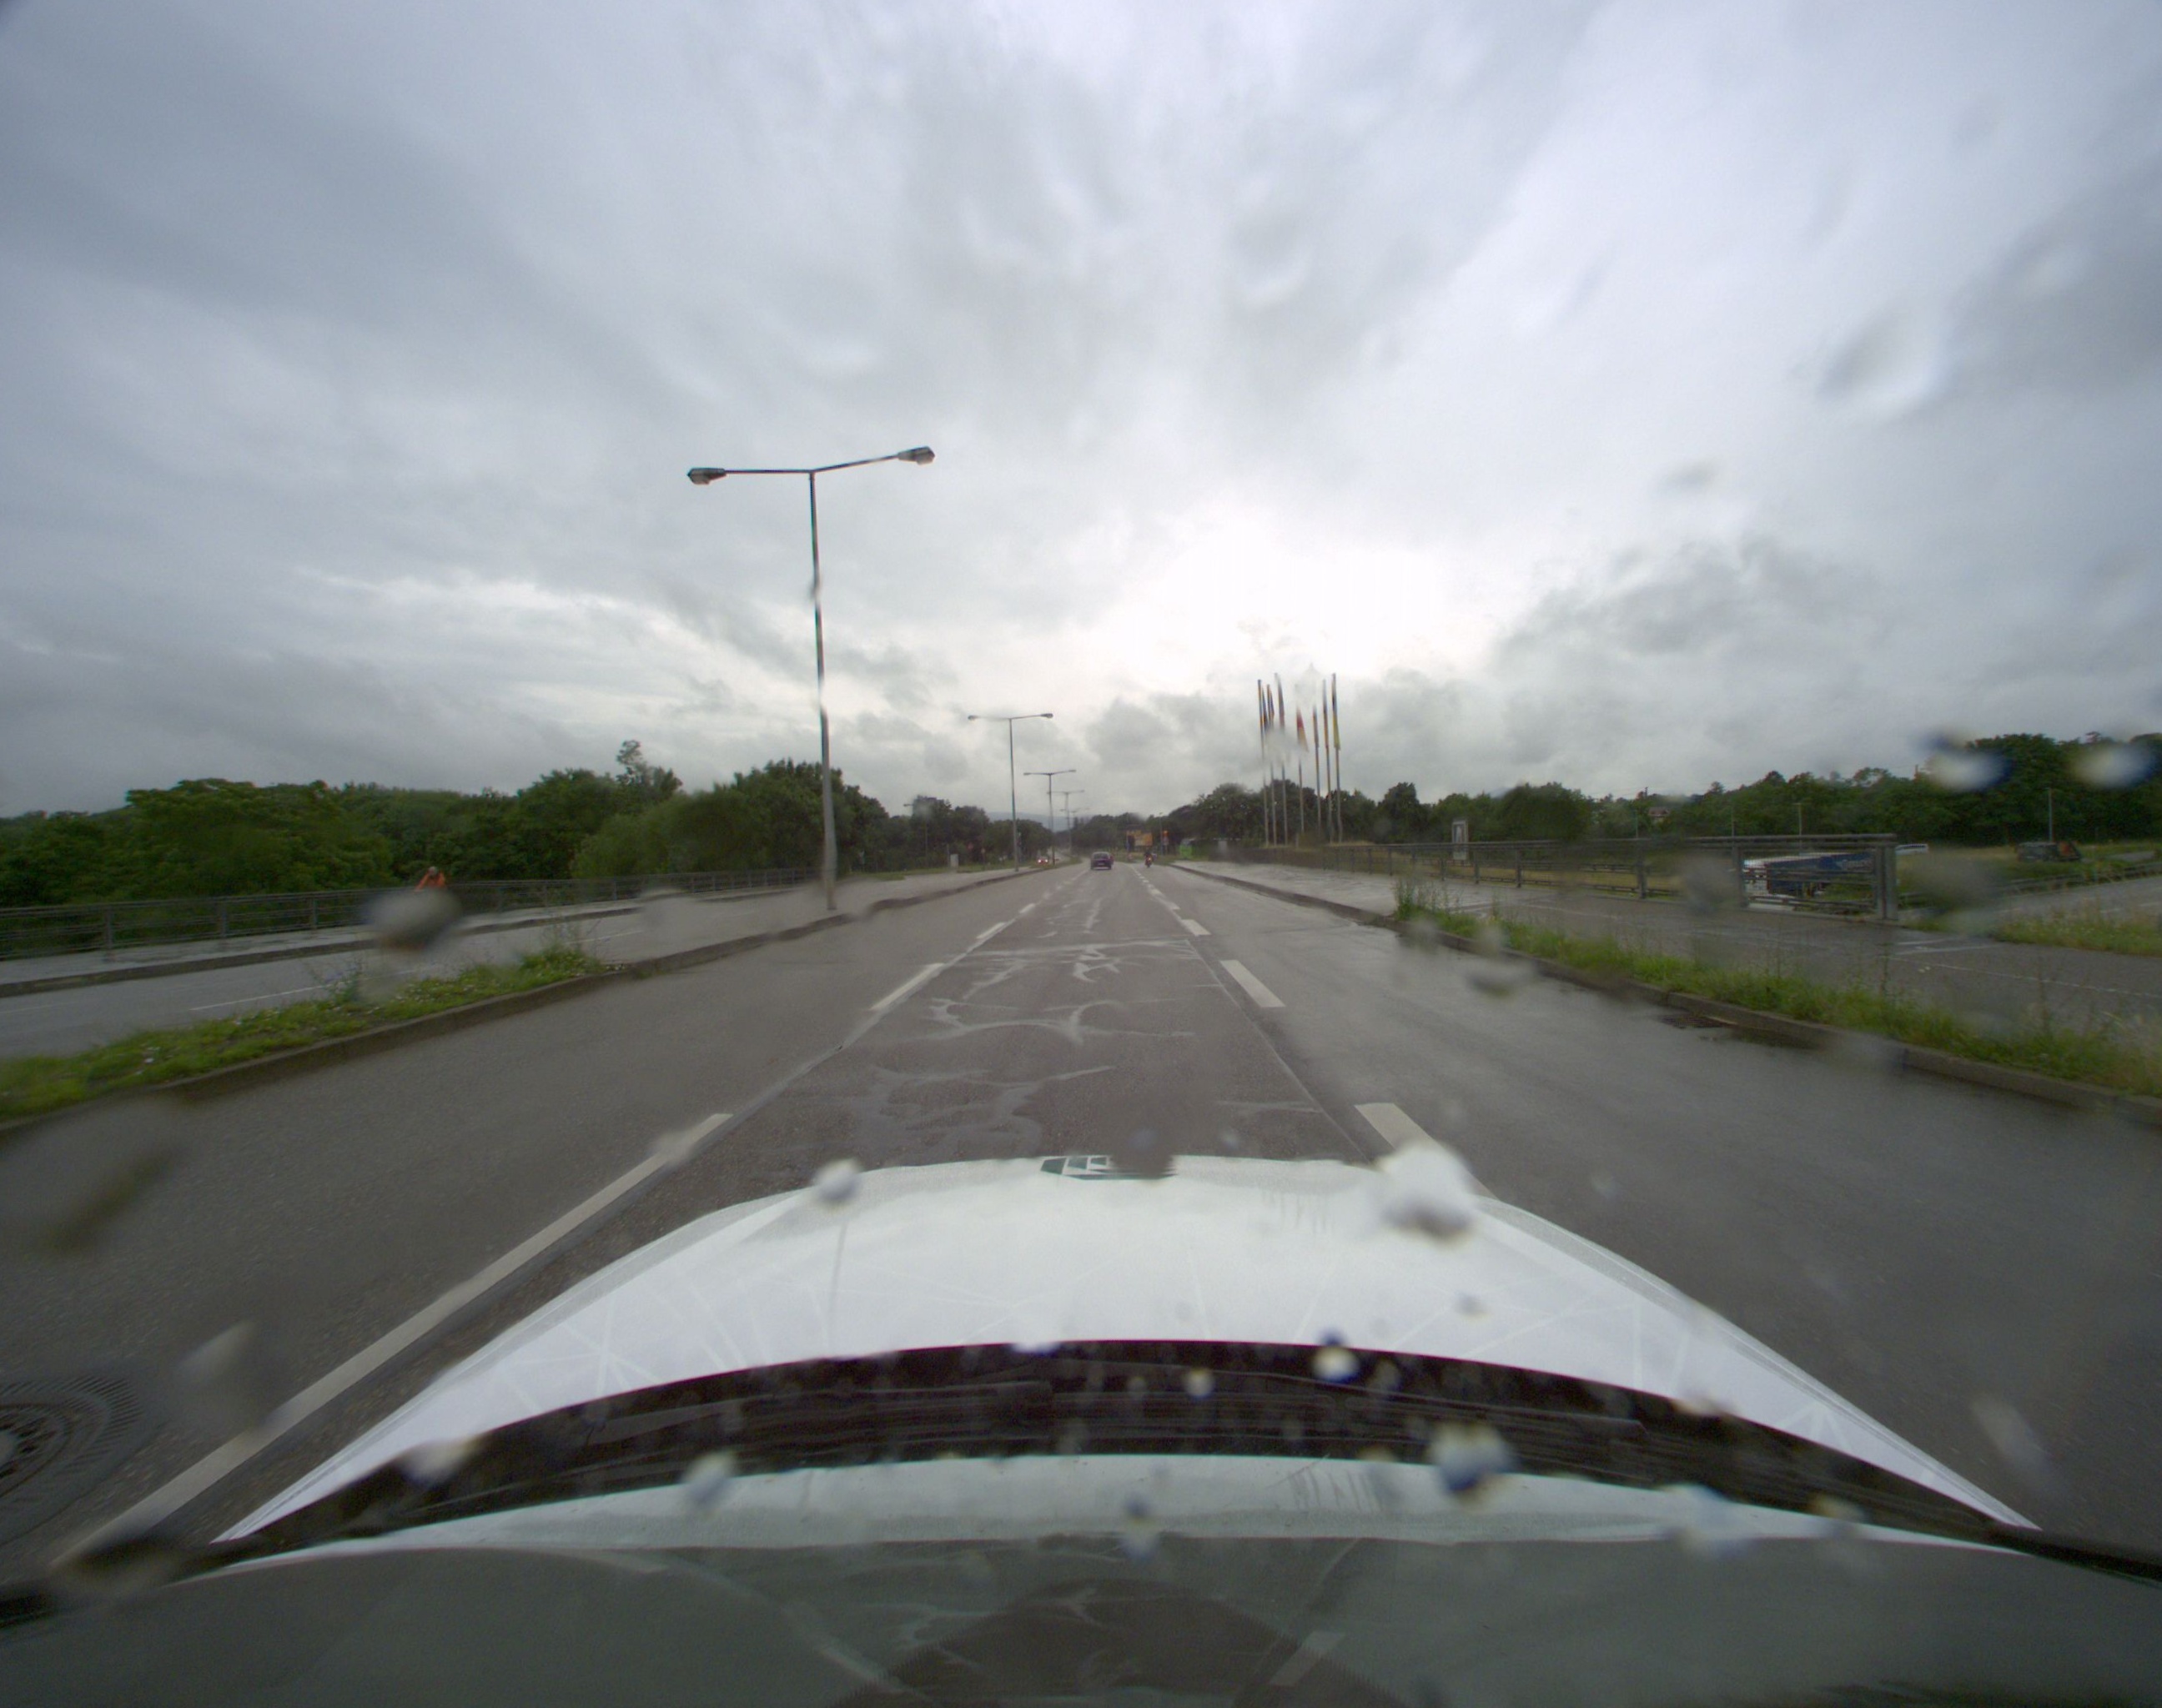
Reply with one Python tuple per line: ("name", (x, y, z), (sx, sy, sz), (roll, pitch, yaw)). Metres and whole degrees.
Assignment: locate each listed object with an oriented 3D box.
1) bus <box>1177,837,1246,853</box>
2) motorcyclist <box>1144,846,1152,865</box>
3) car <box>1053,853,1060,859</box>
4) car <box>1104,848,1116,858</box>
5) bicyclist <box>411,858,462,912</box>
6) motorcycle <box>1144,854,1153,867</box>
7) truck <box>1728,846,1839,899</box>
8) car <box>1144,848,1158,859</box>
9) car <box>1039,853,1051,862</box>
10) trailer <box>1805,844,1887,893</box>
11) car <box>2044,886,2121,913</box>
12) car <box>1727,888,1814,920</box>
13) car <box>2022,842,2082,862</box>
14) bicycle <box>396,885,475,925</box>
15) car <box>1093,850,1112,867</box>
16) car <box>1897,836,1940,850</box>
("bus", (22.625, -1.551, 140.409), (14.664, 2.679, 2.731), (-1, 0, -39))
("motorcyclist", (5.935, 0.141, 71.941), (0.599, 1.690, 0.860), (-1, 0, 1))
("car", (-7.678, 0.594, 255.290), (1.701, 1.629, 4.492), (-4, 0, 1))
("car", (3.797, -0.151, 106.532), (1.458, 1.328, 3.758), (-1, 1, 1))
("bicyclist", (-18.472, 0.879, 23.361), (0.617, 1.500, 1.003), (-1, 0, 2))
("motorcycle", (5.958, 0.604, 71.962), (0.599, 1.093, 1.732), (-1, 0, 1))
("truck", (63.182, 1.584, 73.212), (10.944, 4.301, 2.552), (-1, 0, -20))
("car", (10.602, -0.140, 123.238), (1.848, 1.618, 4.000), (-1, 0, 1))
("car", (-6.290, 0.676, 142.775), (1.654, 1.448, 3.558), (-4, 0, 2))
("trailer", (71.789, 1.317, 76.412), (7.373, 4.301, 2.552), (-1, 0, -20))
("car", (71.016, 3.193, 57.760), (3.994, 1.592, 1.990), (-1, 1, -16))
("car", (40.686, 2.899, 48.082), (3.994, 1.592, 1.990), (-1, 1, -16))
("car", (104.075, -0.268, 87.271), (5.617, 1.965, 2.284), (-1, 1, -19))
("bicycle", (-18.468, 1.441, 23.355), (0.607, 1.033, 2.002), (-1, 0, 2))
("car", (1.764, 0.352, 66.818), (1.458, 1.328, 3.758), (-1, 1, 1))
("car", (123.739, -1.573, 120.326), (3.951, 2.013, 2.012), (-1, 1, 25))
